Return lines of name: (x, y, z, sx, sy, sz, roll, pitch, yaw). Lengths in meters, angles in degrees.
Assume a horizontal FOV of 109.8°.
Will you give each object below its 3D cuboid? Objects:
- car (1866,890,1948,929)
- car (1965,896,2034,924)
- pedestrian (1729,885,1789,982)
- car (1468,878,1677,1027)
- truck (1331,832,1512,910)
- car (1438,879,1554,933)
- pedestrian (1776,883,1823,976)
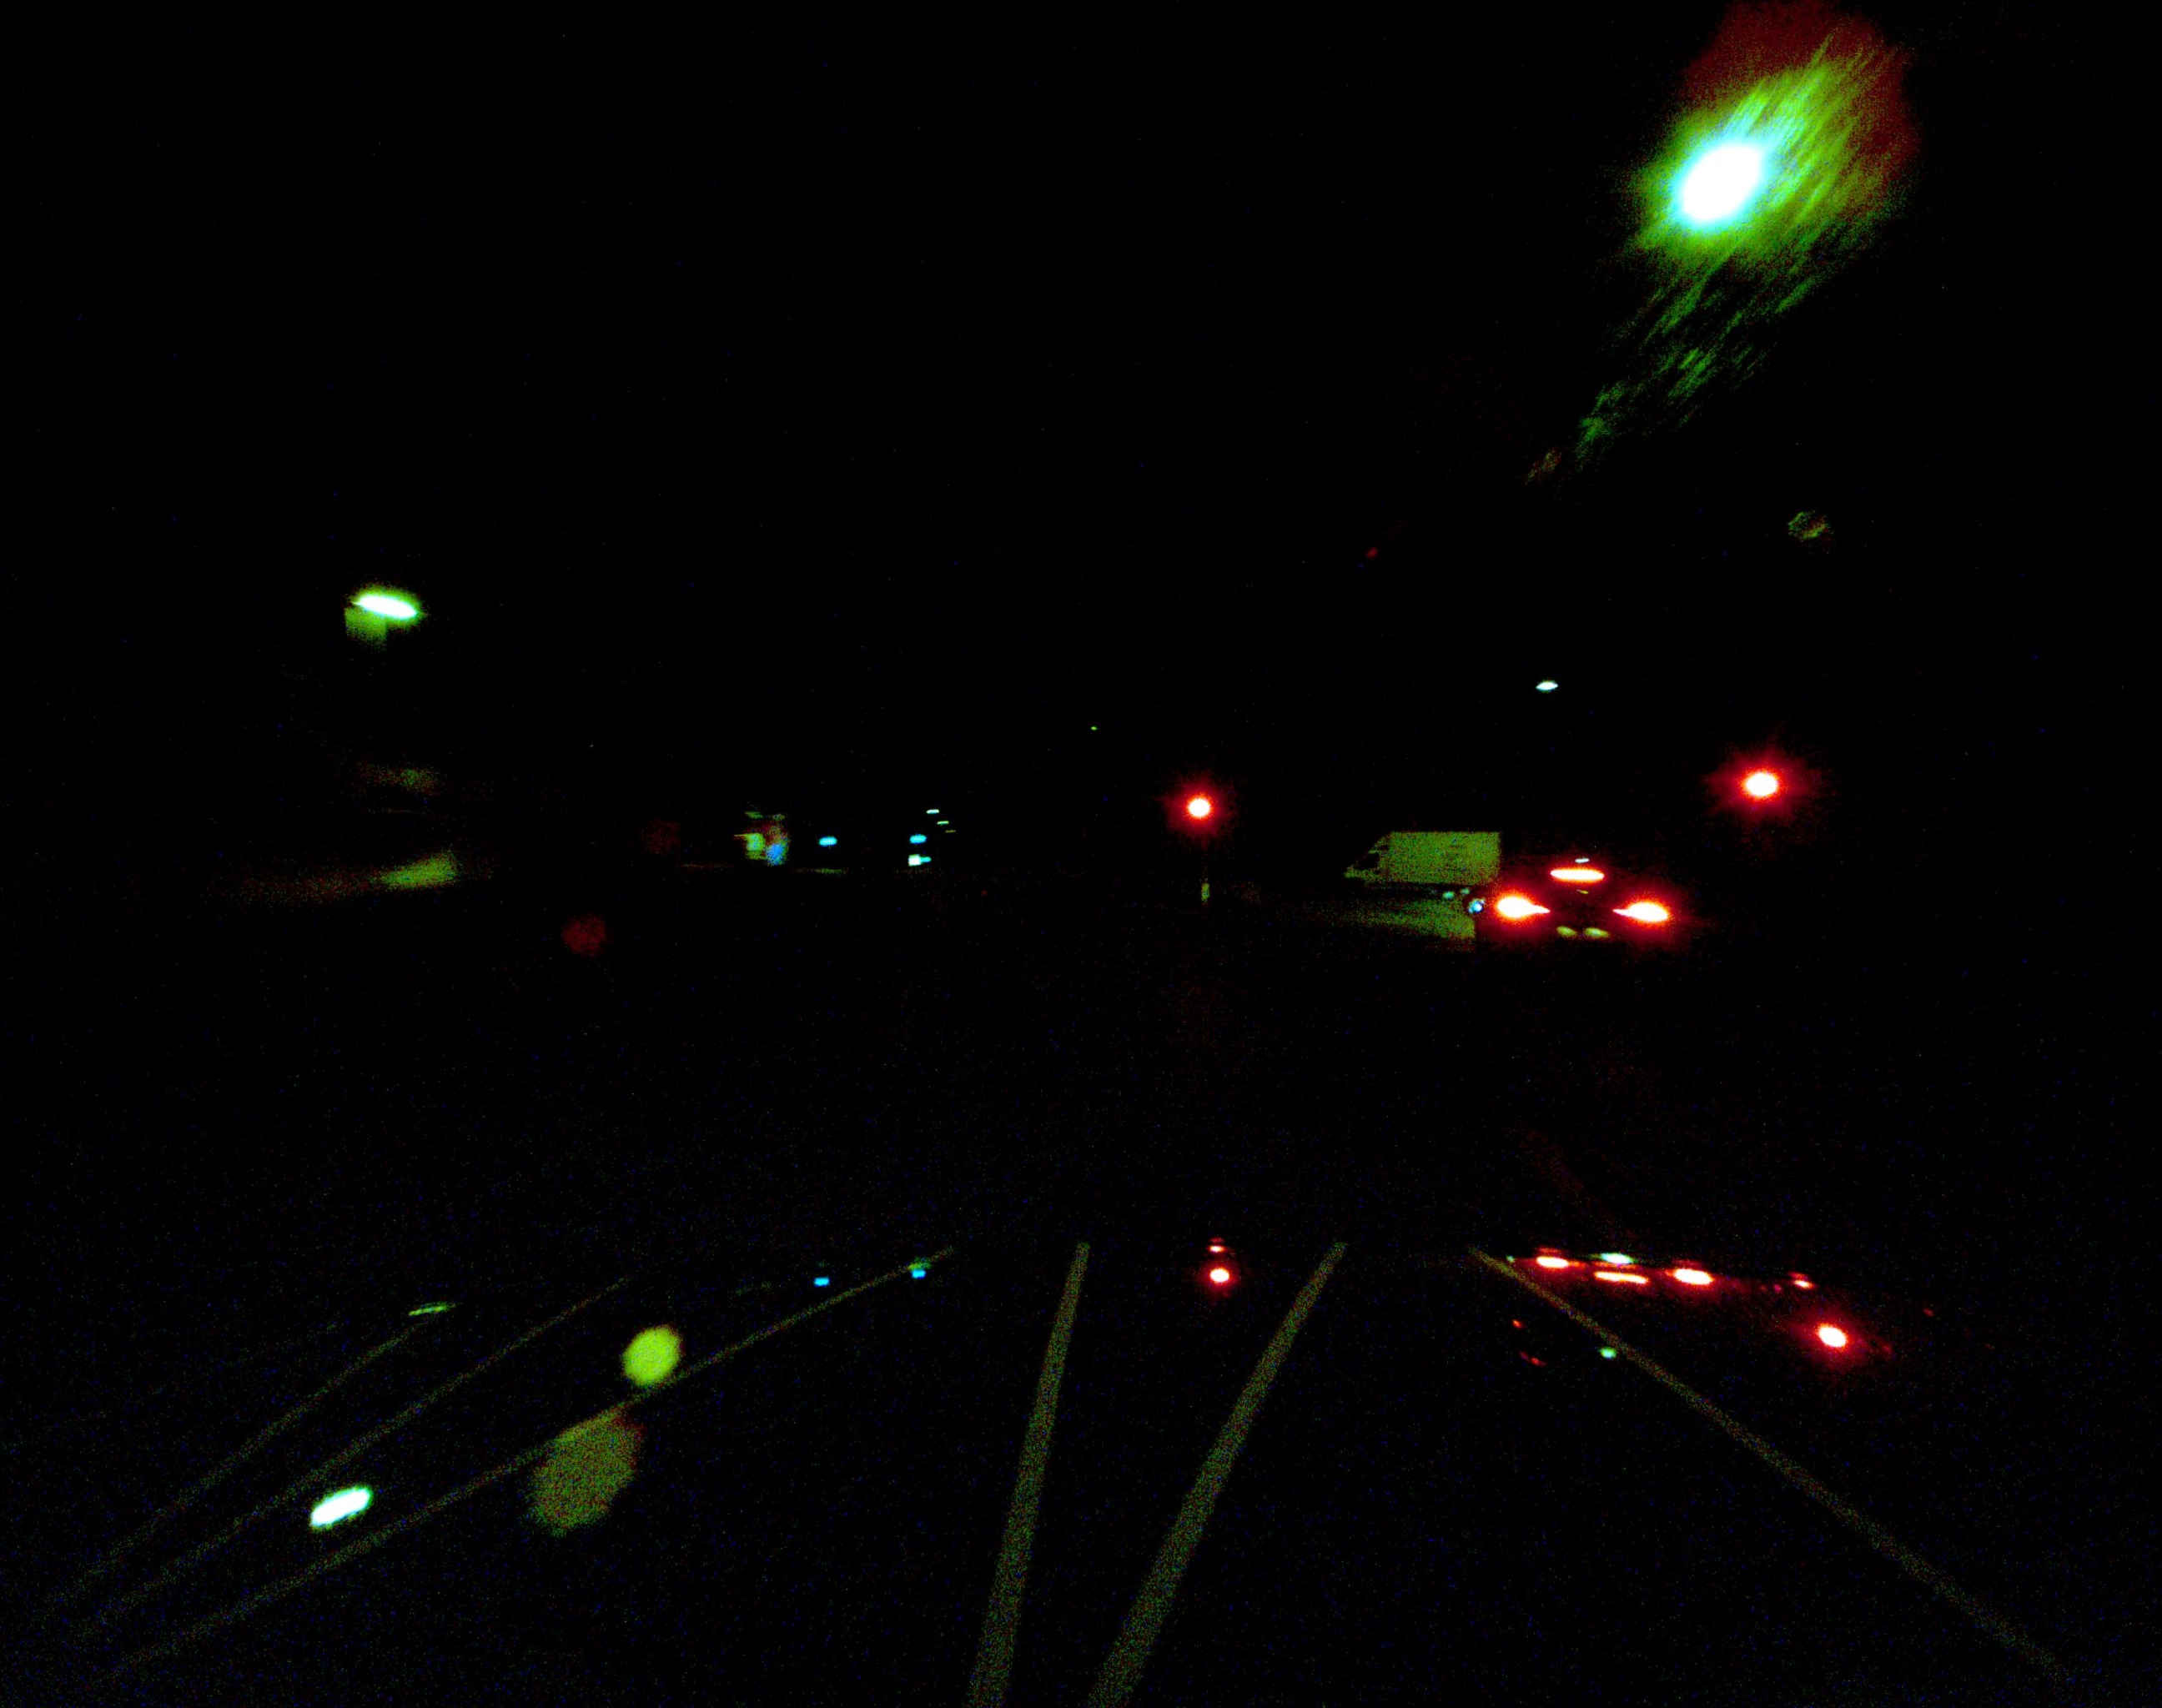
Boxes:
car: (36.760, 2.419, 33.933, 2.047, 1.546, 4.265, 2, -1, 42)
car: (50.868, 3.088, 42.080, 3.701, 1.349, 1.636, 2, 0, -27)
pedestrian: (13.202, 1.517, 14.823, 0.726, 1.759, 0.968, 3, 0, 37)
car: (6.246, 1.087, 10.144, 1.727, 1.421, 4.298, 1, 0, 25)
truck: (15.312, 0.618, 34.389, 7.014, 3.028, 2.778, 3, 3, 33)
car: (12.846, 1.601, 23.512, 3.054, 1.492, 1.511, 3, -1, -22)
pedestrian: (14.252, 1.483, 15.068, 0.694, 1.781, 0.522, 3, 0, -38)
